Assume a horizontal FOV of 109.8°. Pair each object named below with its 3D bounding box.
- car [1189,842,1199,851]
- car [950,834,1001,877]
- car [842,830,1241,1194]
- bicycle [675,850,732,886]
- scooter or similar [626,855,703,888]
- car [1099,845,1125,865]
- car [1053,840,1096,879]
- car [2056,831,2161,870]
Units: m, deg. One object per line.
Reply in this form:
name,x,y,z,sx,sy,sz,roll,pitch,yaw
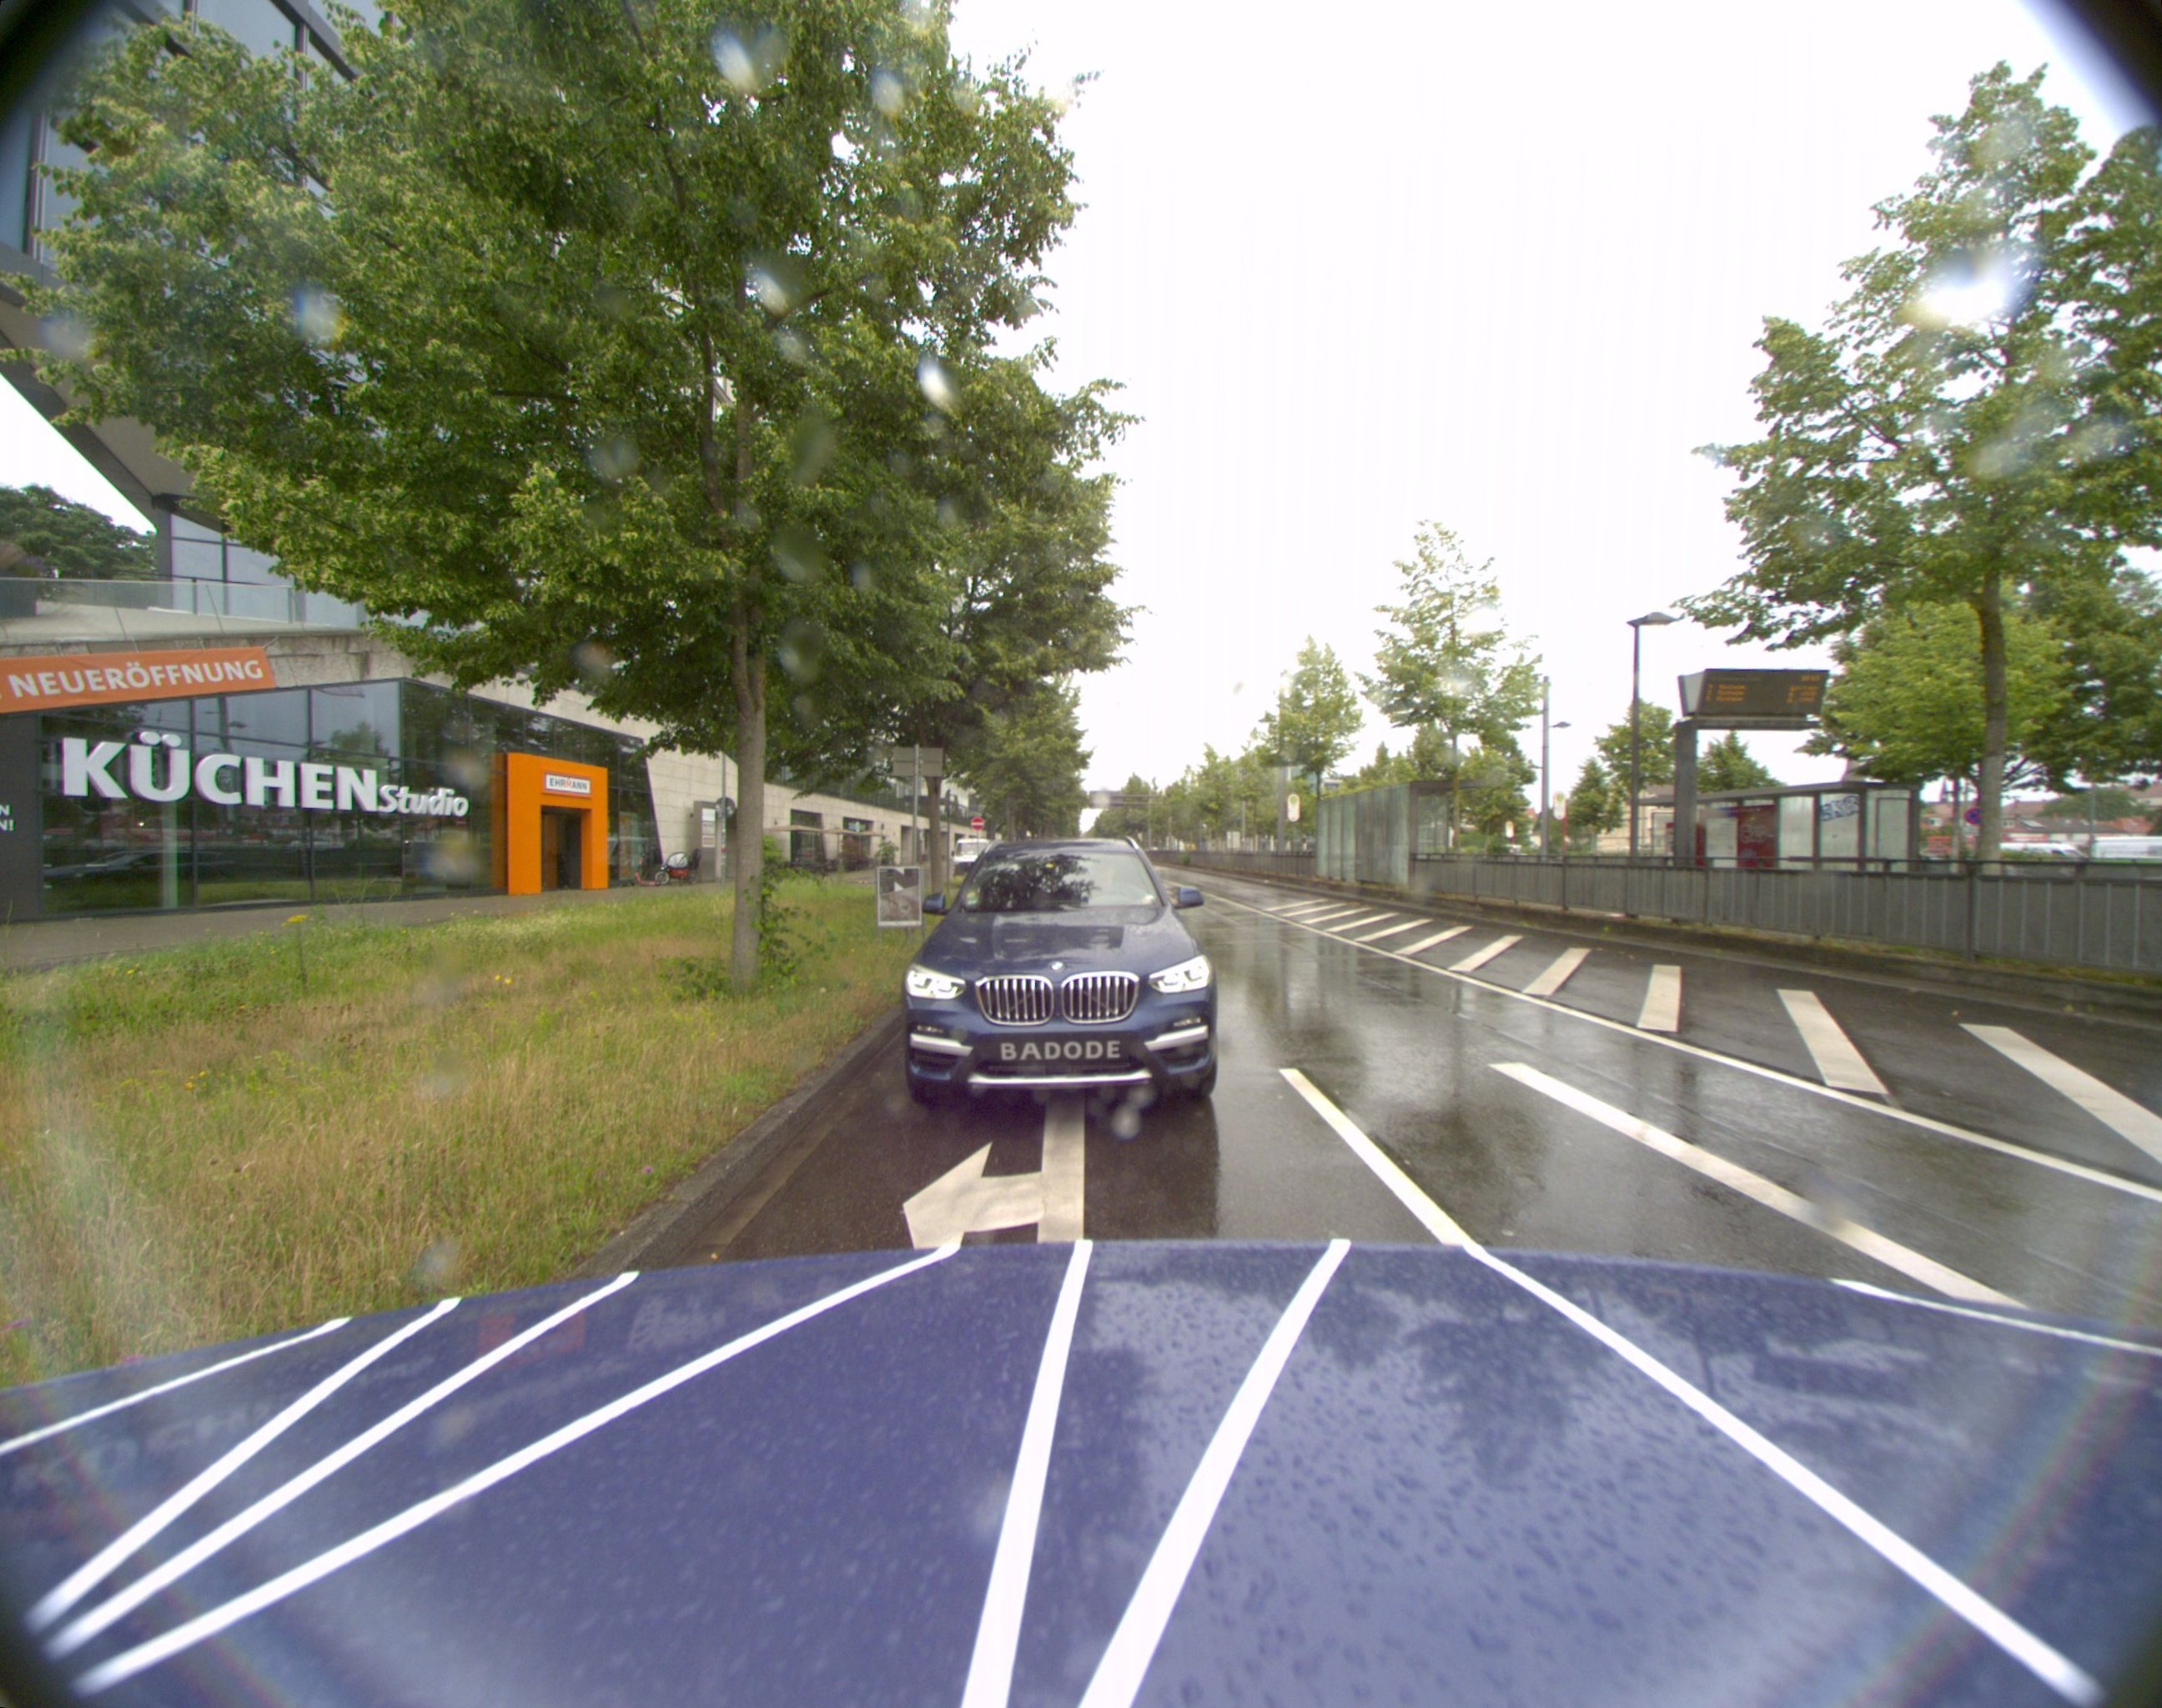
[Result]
car,26.732,-1.875,179.872,1.998,2.002,4.000,-2,1,2
car,-5.937,0.054,43.458,2.084,2.189,5.097,-2,1,1
car,-0.170,0.817,5.960,1.916,1.736,4.384,-2,-1,1
bicycle,-15.430,0.537,31.162,0.882,1.339,2.696,-2,1,1
scooter or similar,-15.477,0.628,28.333,0.810,1.093,2.617,-2,1,18
car,2.534,0.036,62.669,1.788,1.509,4.331,-2,1,-2
car,-0.259,0.222,35.309,1.788,1.638,3.999,-2,1,1
car,70.138,-0.263,49.858,2.356,2.462,7.636,-2,1,-3
